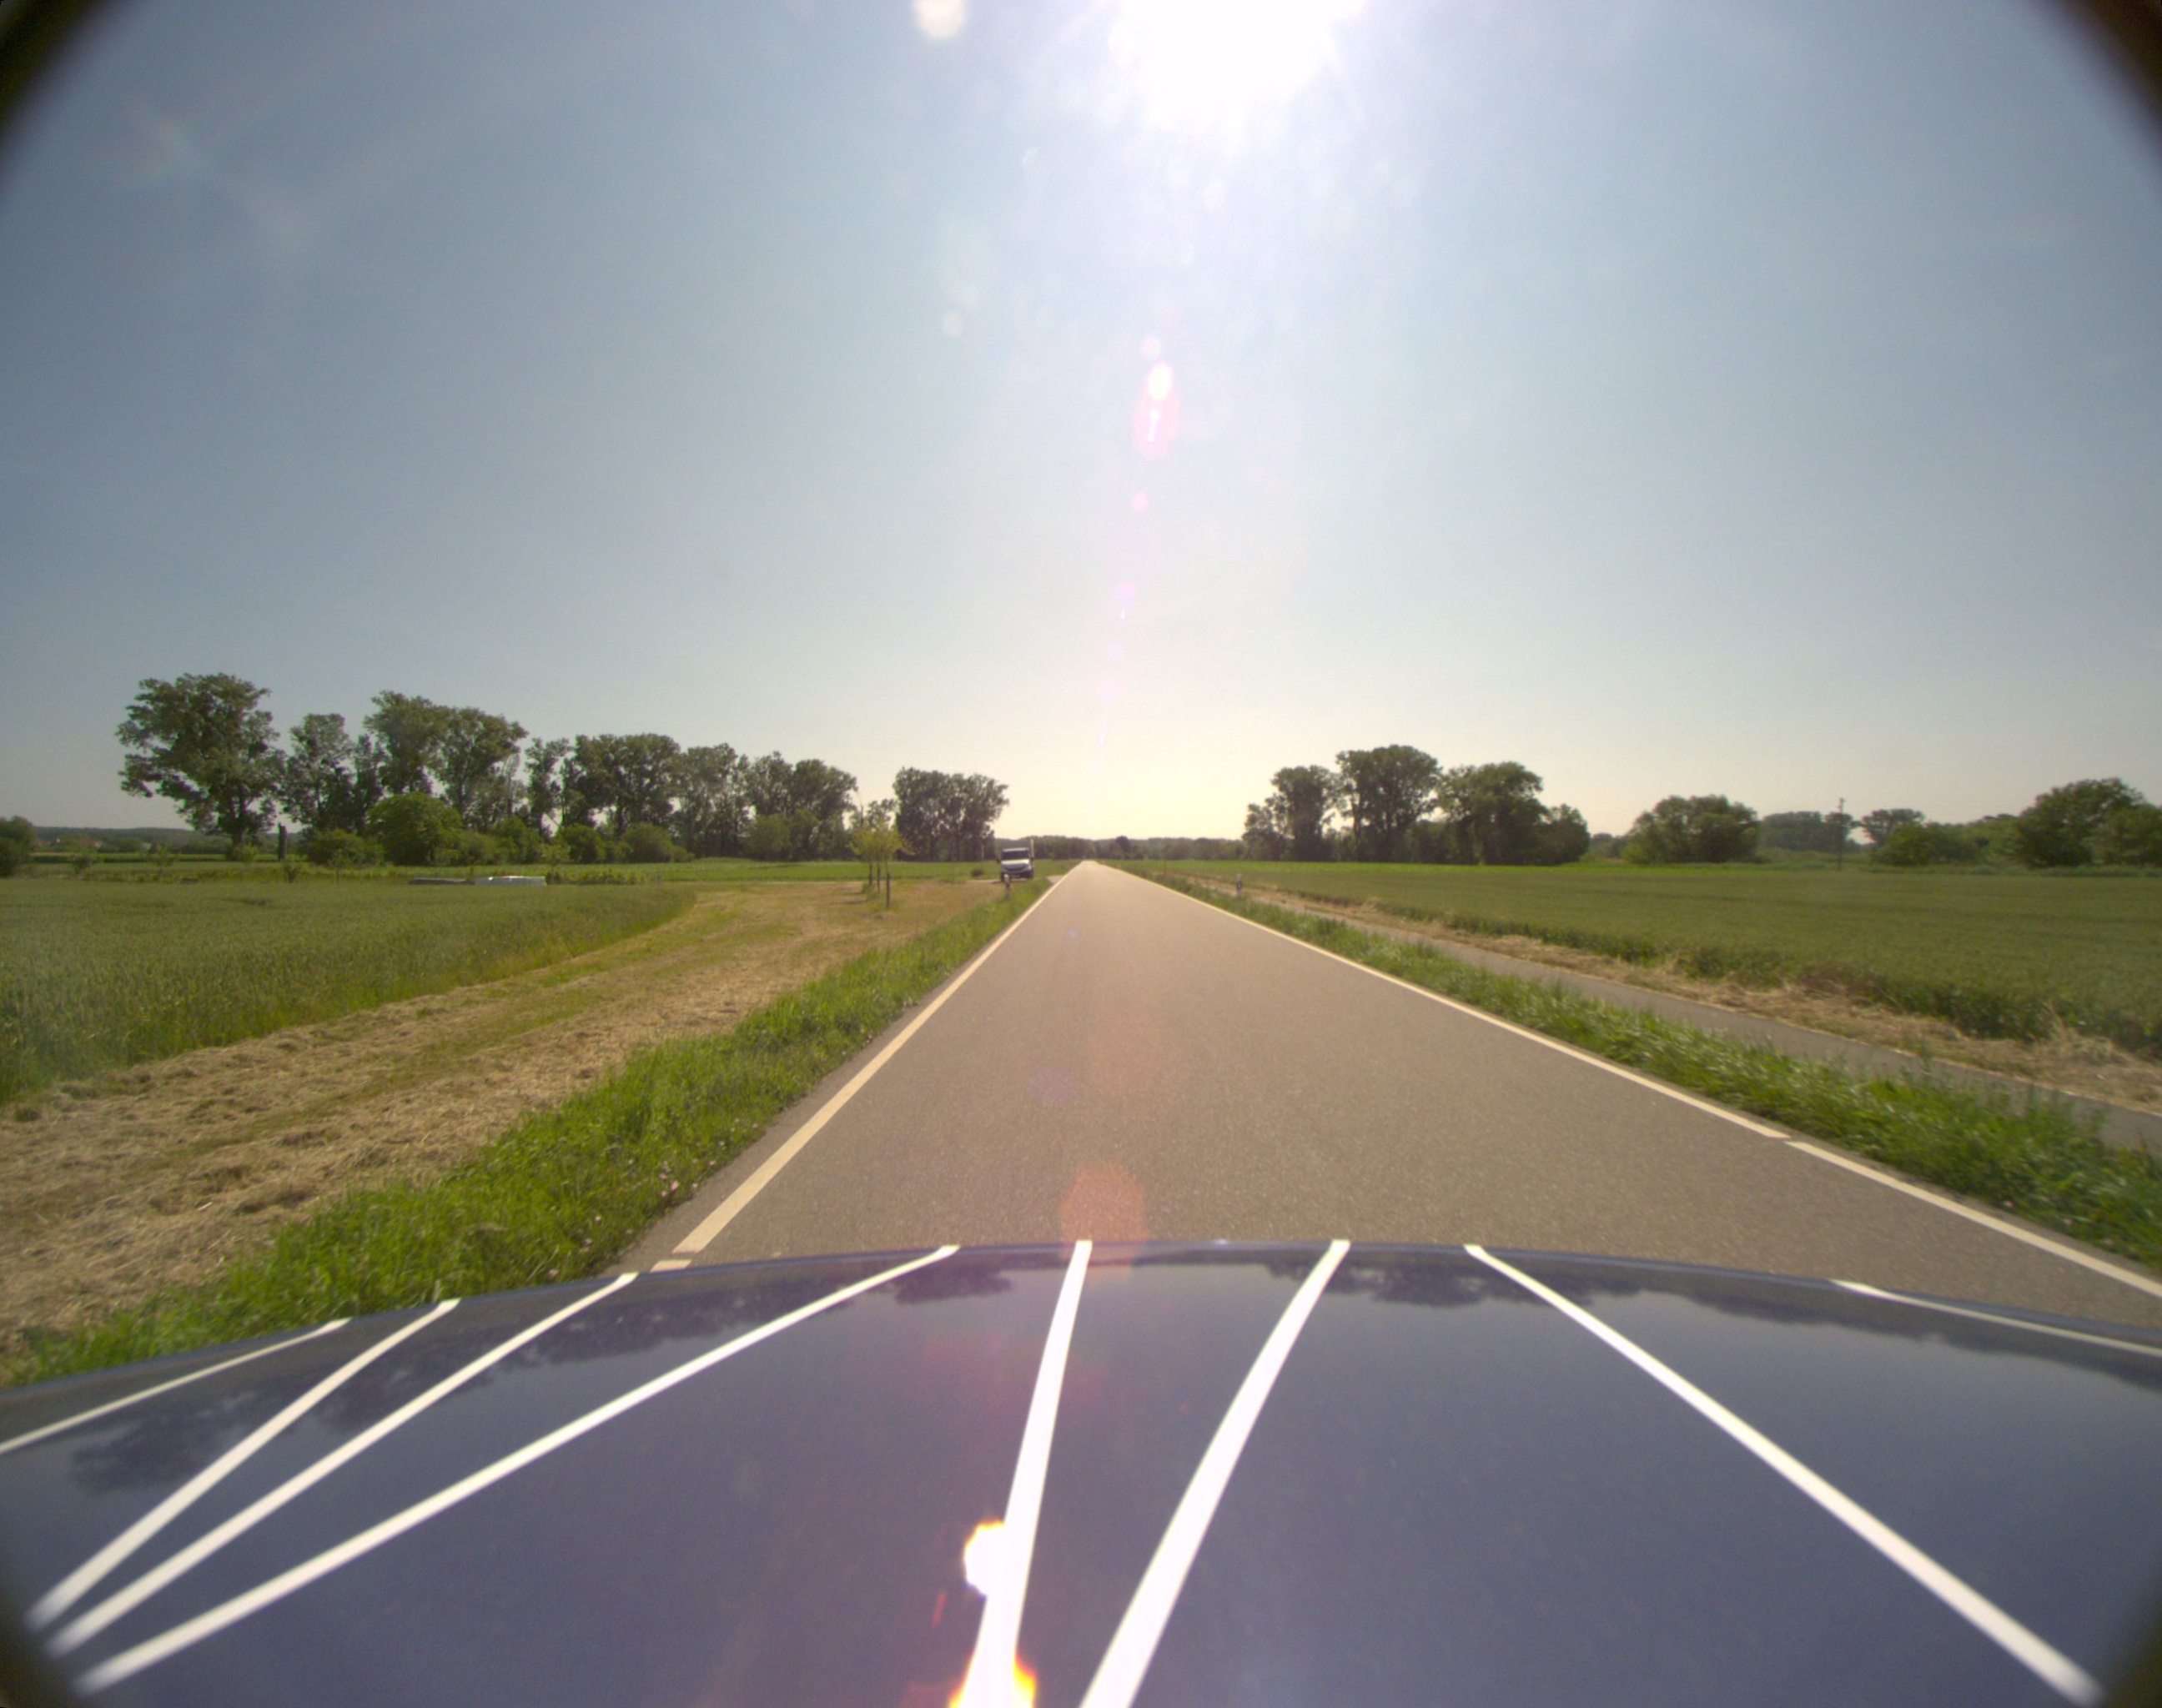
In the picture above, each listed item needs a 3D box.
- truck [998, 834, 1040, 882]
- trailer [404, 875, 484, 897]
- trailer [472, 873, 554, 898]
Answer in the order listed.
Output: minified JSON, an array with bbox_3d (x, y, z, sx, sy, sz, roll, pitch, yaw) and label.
[{"bbox_3d":[-4.151,0.235,52.075,2.342,2.925,7.007,-3,1,-1],"label":"truck"},{"bbox_3d":[-36.392,1.822,43.428,3.543,1.182,1.665,-1,1,12],"label":"trailer"},{"bbox_3d":[-31.463,1.745,42.102,3.591,1.182,1.665,-2,1,12],"label":"trailer"}]
